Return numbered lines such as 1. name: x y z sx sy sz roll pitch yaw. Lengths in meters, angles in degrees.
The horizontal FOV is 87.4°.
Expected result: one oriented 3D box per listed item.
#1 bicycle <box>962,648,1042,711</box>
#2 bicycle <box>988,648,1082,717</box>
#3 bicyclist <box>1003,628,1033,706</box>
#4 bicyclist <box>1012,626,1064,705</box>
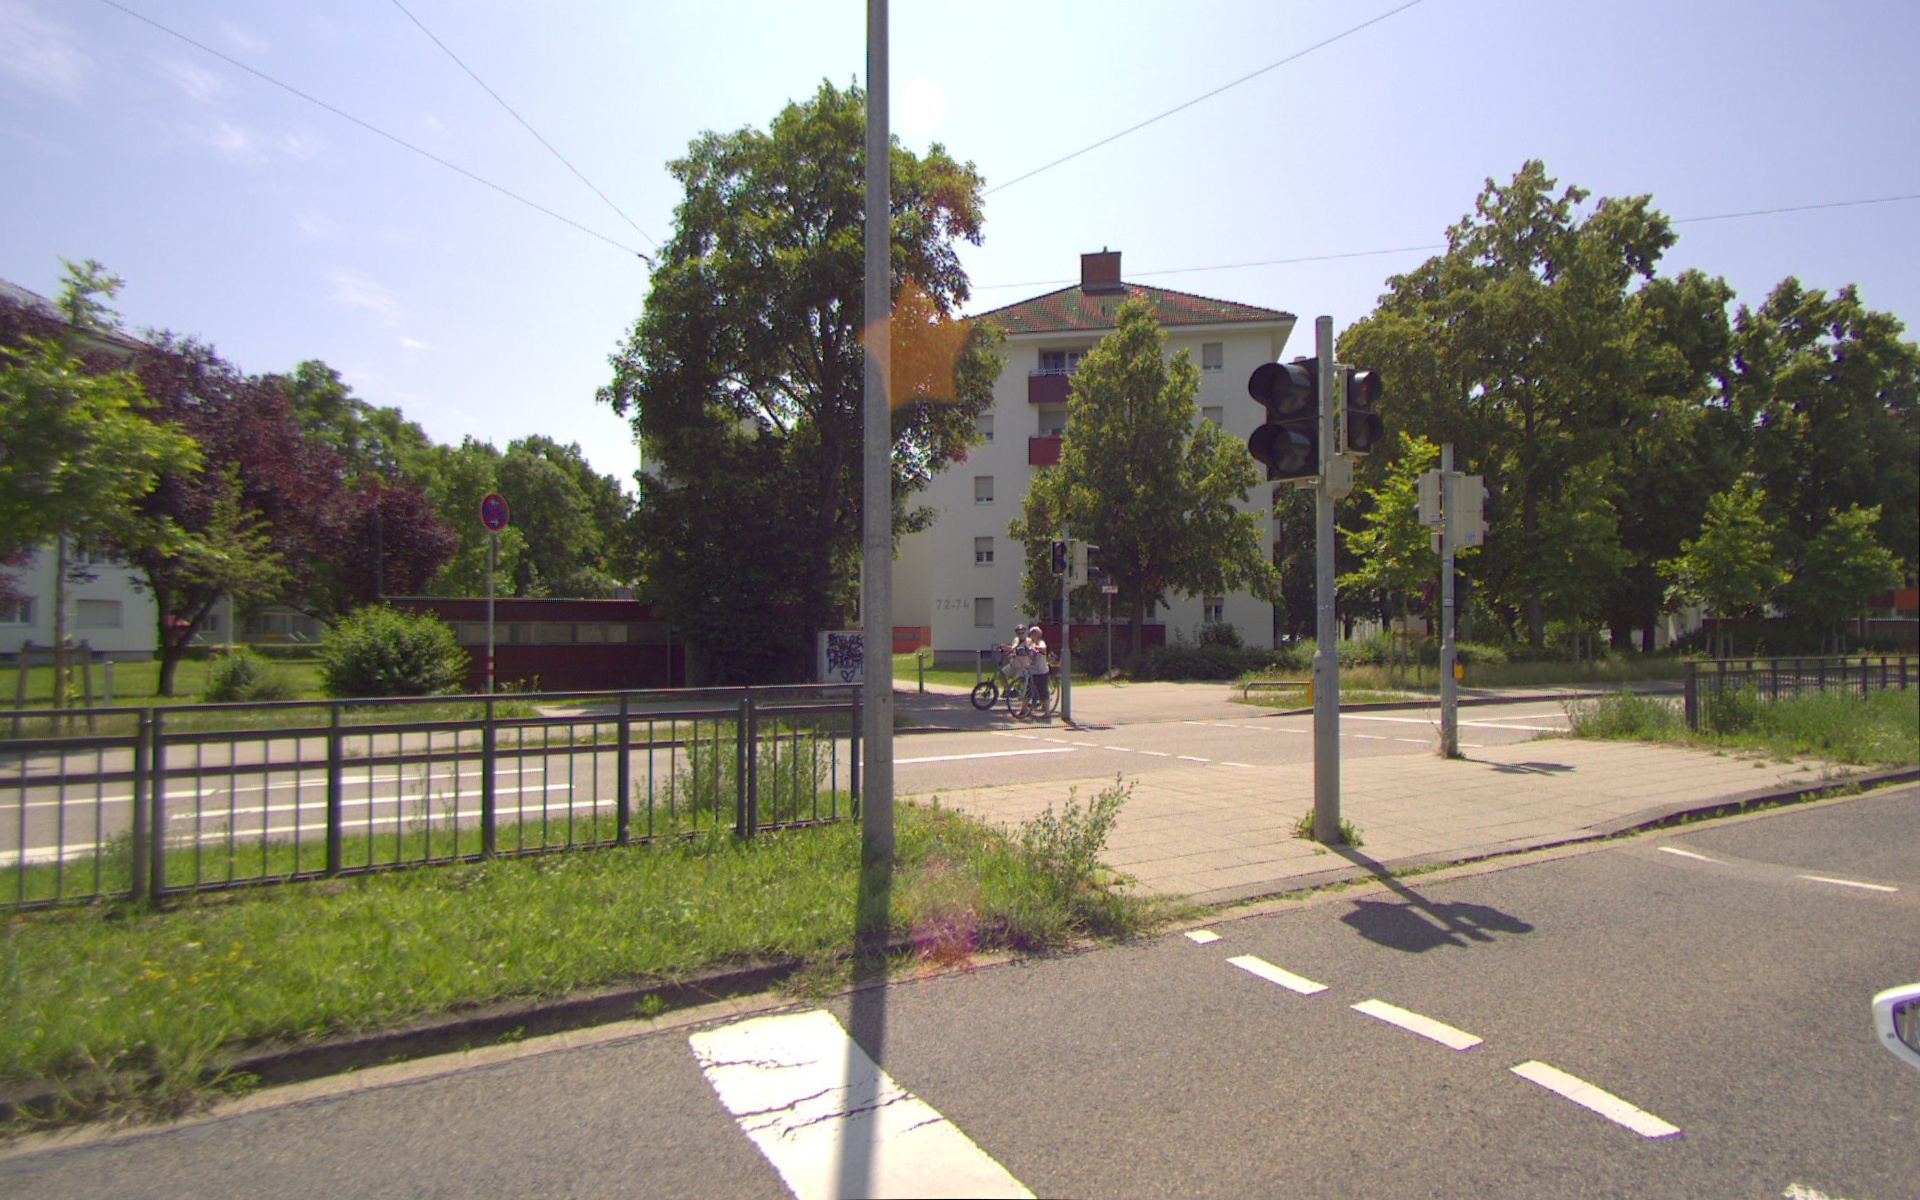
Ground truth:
1. bicycle: 0.774 1.439 18.341 1.362 1.109 0.552 2 -1 -28
2. bicycle: 1.314 1.422 17.551 1.596 1.148 0.586 1 -2 -29
3. bicyclist: 1.068 1.223 18.476 0.435 1.410 0.356 1 0 -27
4. bicyclist: 1.364 1.133 17.587 0.746 1.363 0.542 1 -2 -30
